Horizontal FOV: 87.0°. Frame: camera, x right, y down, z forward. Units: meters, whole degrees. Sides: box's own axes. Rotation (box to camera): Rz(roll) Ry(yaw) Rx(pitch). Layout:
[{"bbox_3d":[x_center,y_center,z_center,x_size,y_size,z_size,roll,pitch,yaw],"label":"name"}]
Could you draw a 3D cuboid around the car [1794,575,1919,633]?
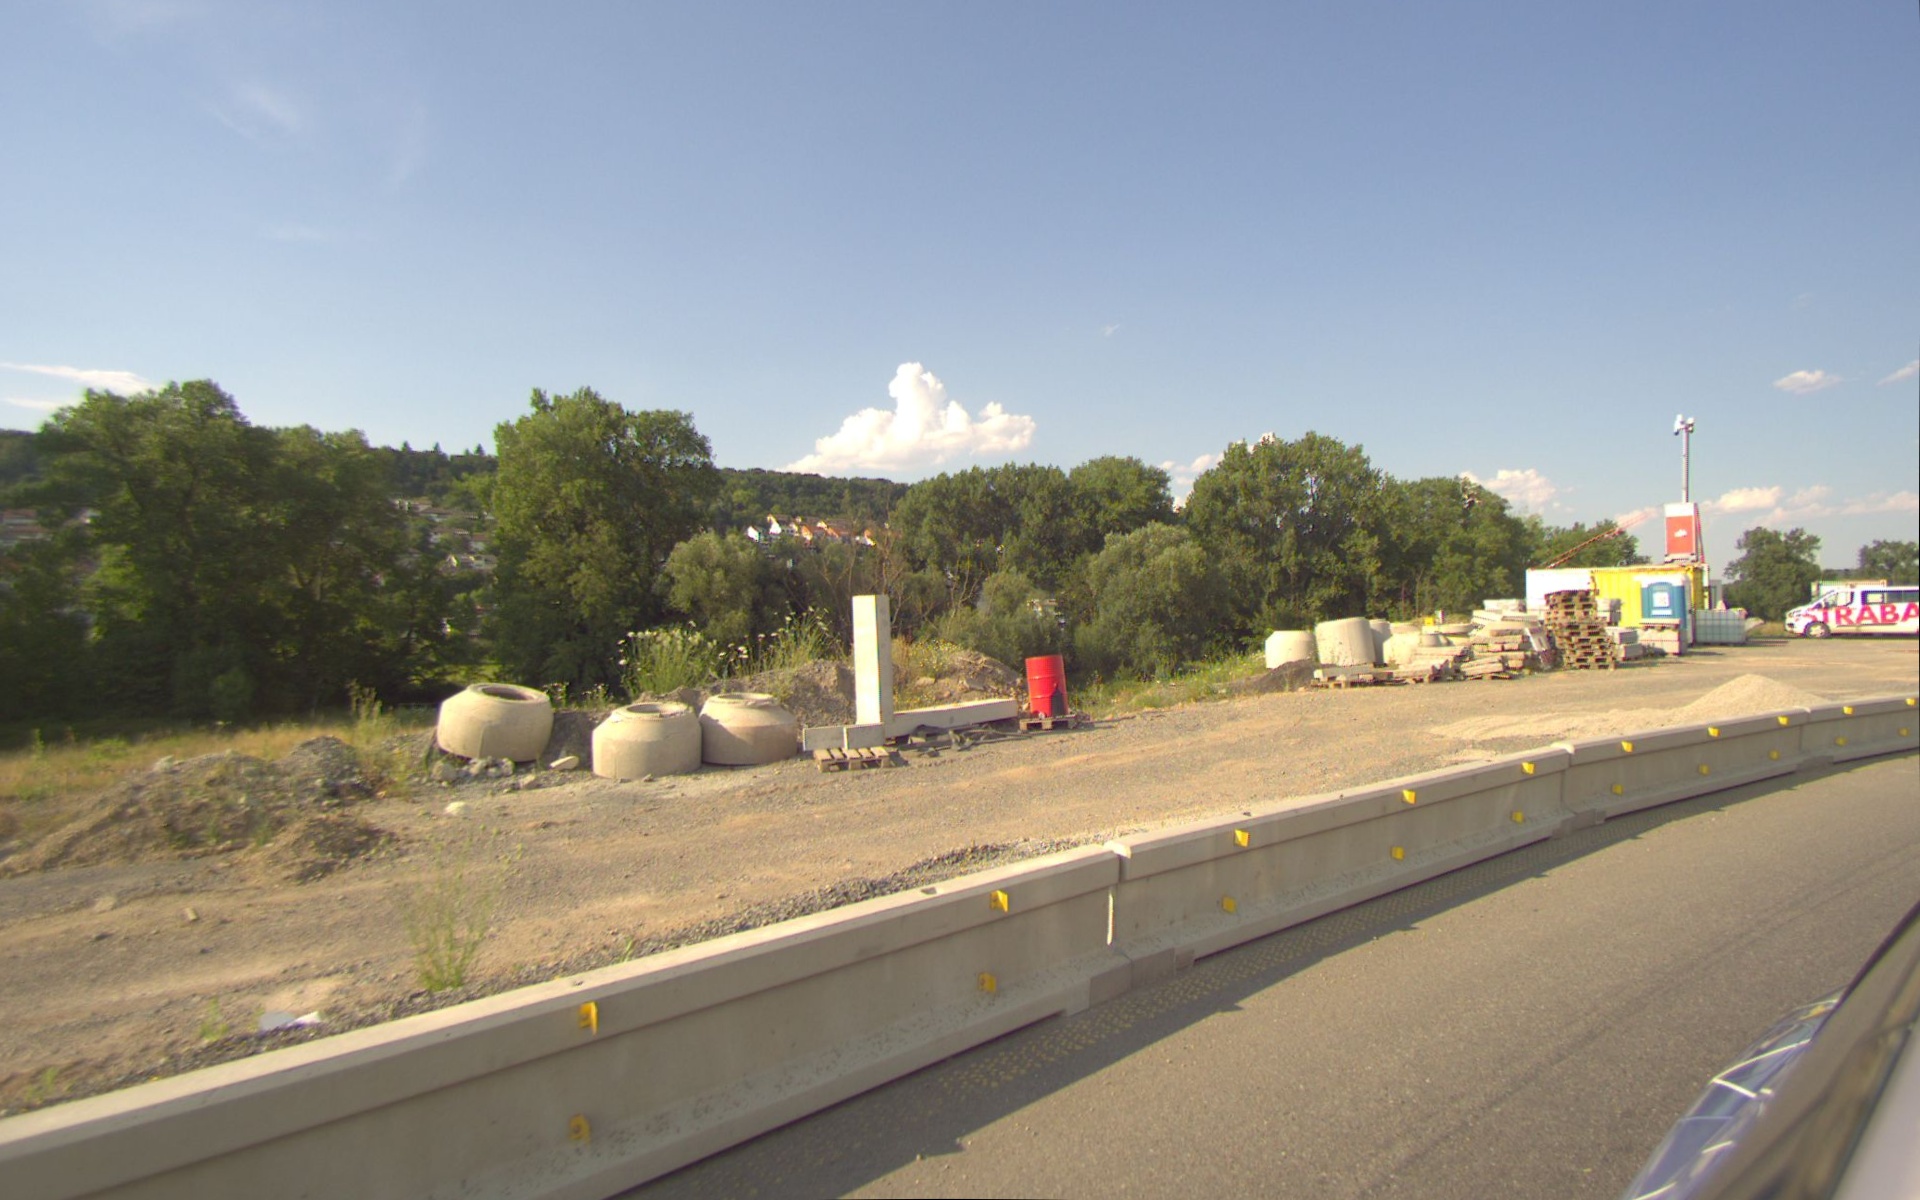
[{"bbox_3d":[35.508,0.142,38.879,5.294,2.105,2.451,-2,-1,40],"label":"car"}]
